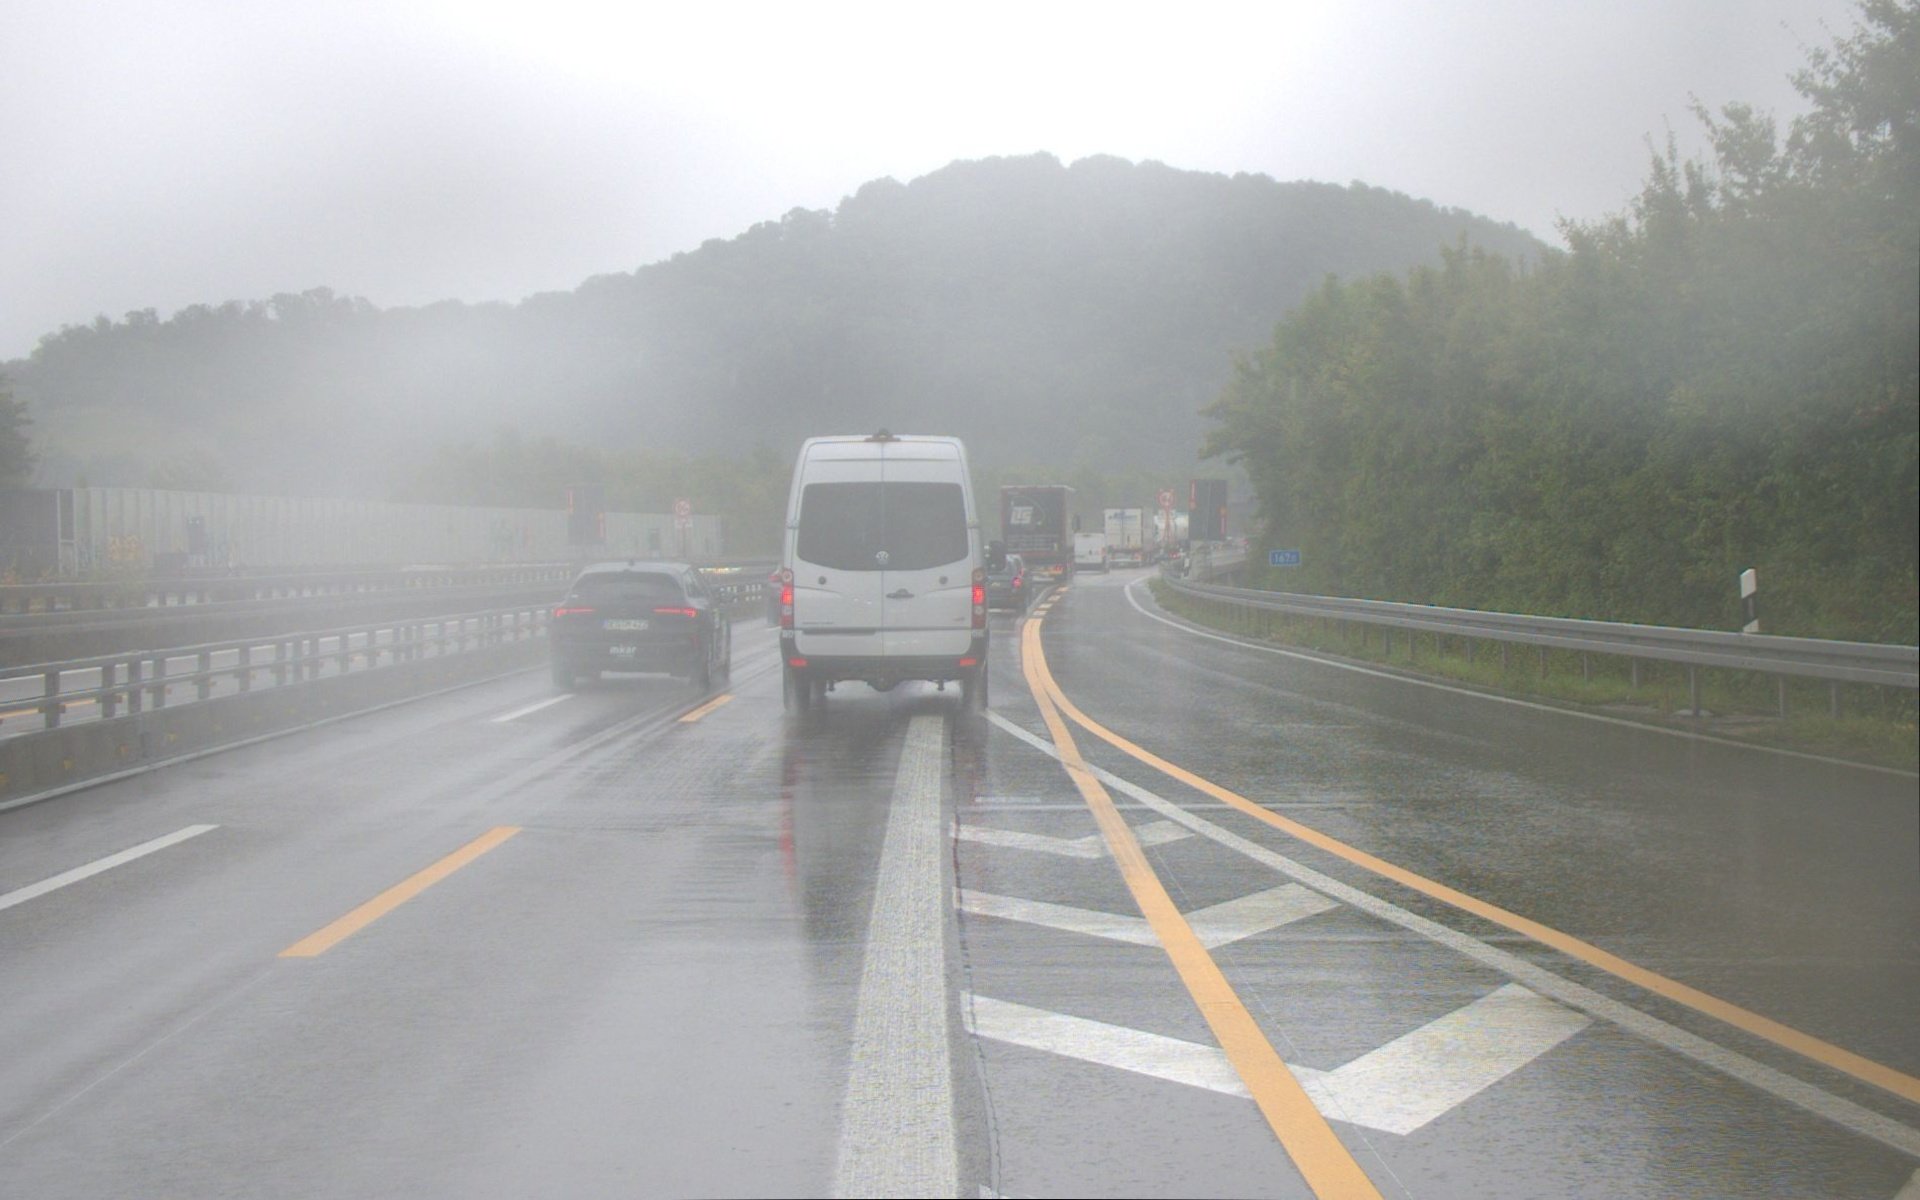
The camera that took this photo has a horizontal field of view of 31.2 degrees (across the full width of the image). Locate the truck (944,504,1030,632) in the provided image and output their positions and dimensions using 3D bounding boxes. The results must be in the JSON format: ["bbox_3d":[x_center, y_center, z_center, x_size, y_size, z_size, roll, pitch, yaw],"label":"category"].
[{"bbox_3d":[0.755,-0.826,88.285,1.993,3.098,8.498,1,0,2],"label":"truck"}]

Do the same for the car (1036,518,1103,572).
[{"bbox_3d":[6.003,-2.979,188.127,2.899,2.877,6.409,1,0,9],"label":"car"}]

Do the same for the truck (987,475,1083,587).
[{"bbox_3d":[3.158,-2.778,140.915,3.581,4.391,9.623,1,0,3],"label":"truck"}]

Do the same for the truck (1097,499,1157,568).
[{"bbox_3d":[11.041,-4.309,226.429,3.037,4.391,9.621,1,0,8],"label":"truck"}]

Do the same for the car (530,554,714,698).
[{"bbox_3d":[-3.821,0.265,39.450,1.946,1.556,4.001,1,0,-4],"label":"car"}]

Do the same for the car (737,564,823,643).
[{"bbox_3d":[-3.819,0.048,73.327,1.707,1.622,4.000,1,0,-1],"label":"car"}]

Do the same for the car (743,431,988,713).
[{"bbox_3d":[-0.849,-0.281,34.298,2.145,2.562,5.389,1,0,1],"label":"car"}]

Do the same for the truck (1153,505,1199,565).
[{"bbox_3d":[16.362,-4.874,260.081,2.899,4.391,9.621,1,0,7],"label":"truck"}]
